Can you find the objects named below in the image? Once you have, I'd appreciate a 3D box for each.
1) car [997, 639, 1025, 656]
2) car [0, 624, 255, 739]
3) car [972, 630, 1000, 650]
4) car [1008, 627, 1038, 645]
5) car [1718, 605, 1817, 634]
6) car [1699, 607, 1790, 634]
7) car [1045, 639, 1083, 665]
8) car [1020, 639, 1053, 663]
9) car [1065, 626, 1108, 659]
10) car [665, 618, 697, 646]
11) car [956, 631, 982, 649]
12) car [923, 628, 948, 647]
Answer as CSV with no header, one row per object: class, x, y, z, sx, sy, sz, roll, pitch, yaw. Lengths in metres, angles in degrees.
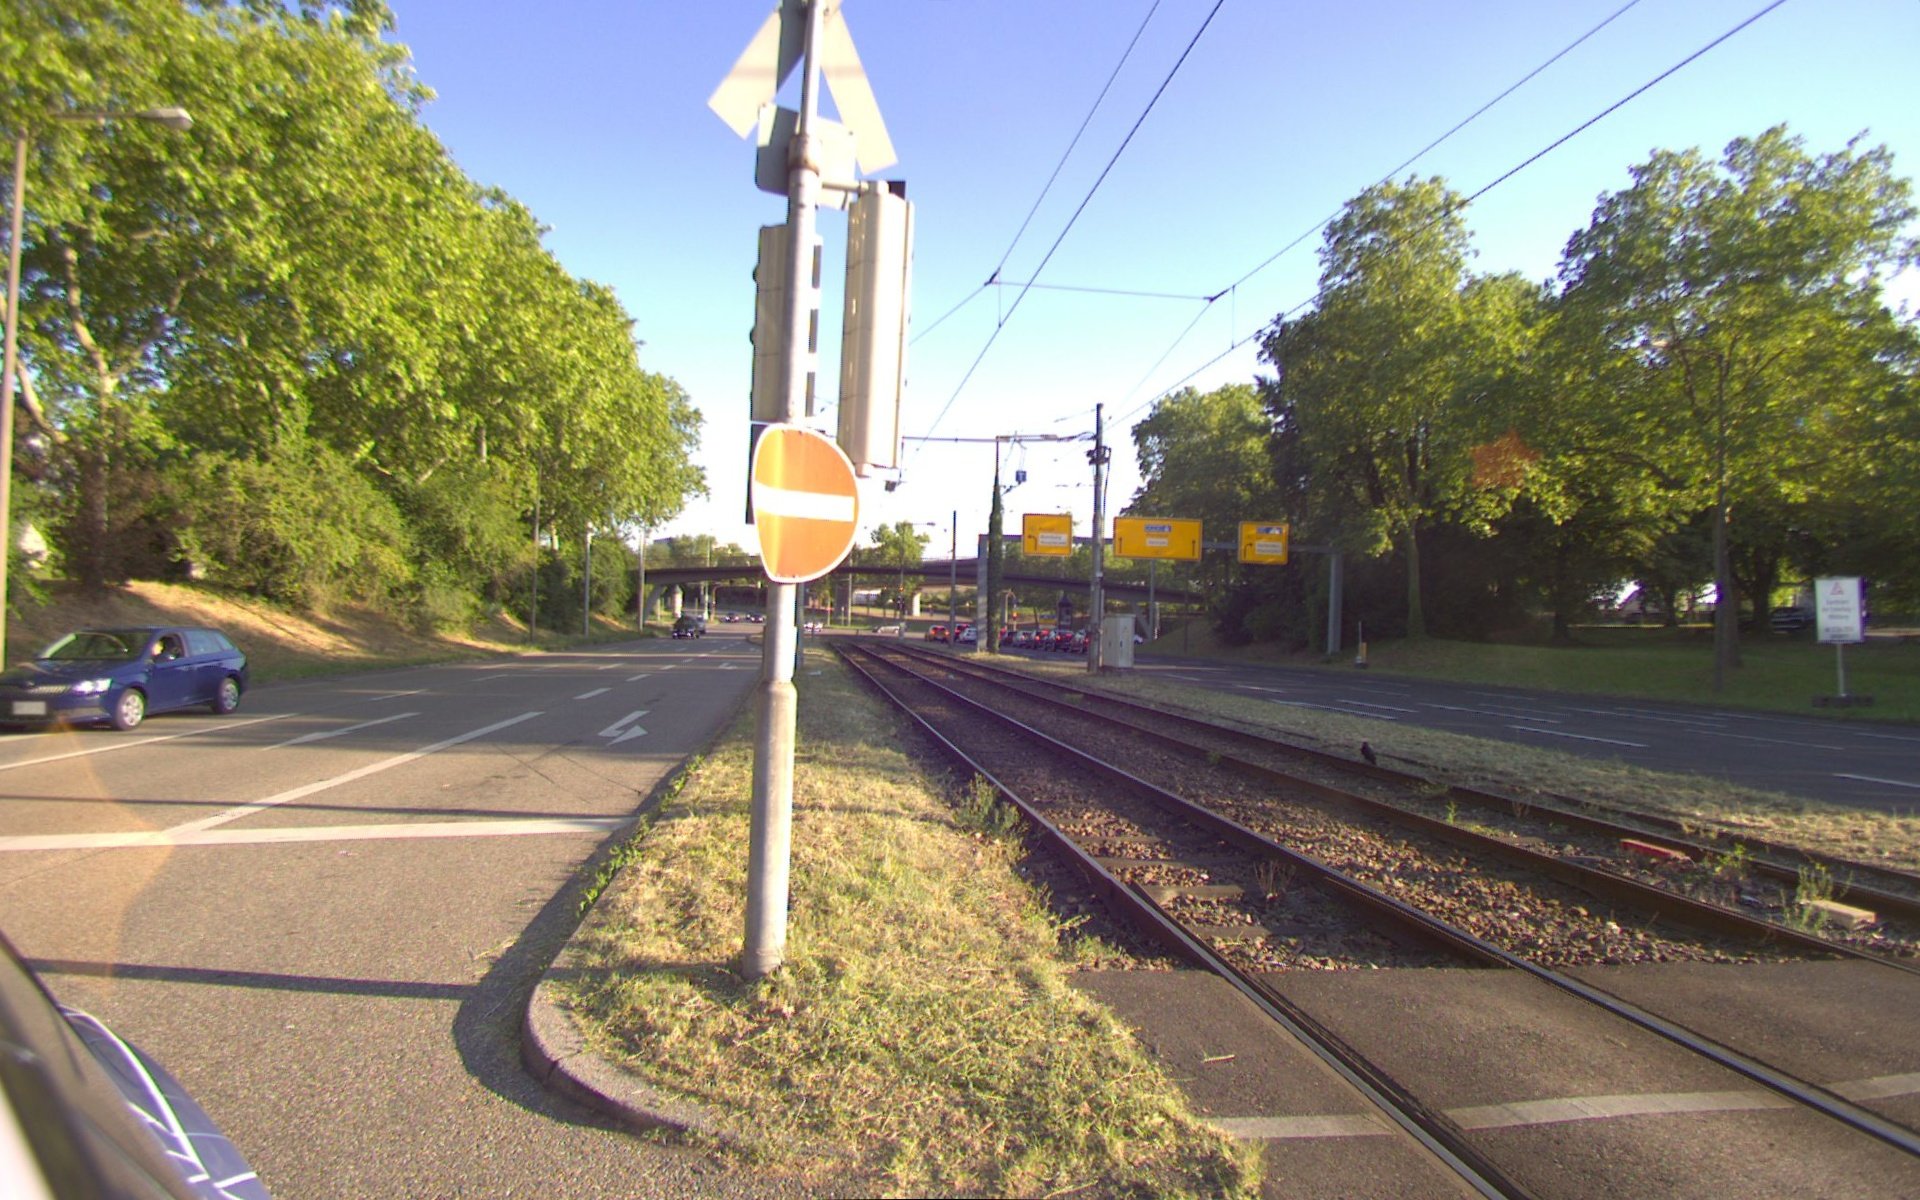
car,4.715,4.371,93.958,1.769,1.393,4.484,0,-1,-8
car,-12.437,1.100,15.051,1.604,1.453,3.992,0,-1,-9
car,2.133,3.362,84.945,1.641,1.577,4.198,0,-1,-8
car,5.376,3.117,87.274,1.769,1.493,4.007,0,-1,-8
car,43.989,1.067,55.157,3.941,1.564,1.809,0,-1,-2
car,47.411,1.251,61.222,3.951,1.564,1.804,0,-1,7
car,7.571,3.795,73.909,1.769,1.763,4.248,0,-1,-8
car,6.012,4.006,80.030,1.769,1.763,4.007,0,-1,-8
car,8.415,2.784,67.581,1.769,2.121,4.007,0,-1,-9
car,-22.428,2.586,81.506,1.968,2.179,4.197,0,-2,-8
car,0.814,3.574,91.783,1.720,1.443,4.417,3,-2,-6
car,-2.136,3.244,87.654,1.641,1.577,4.007,0,-1,-8
